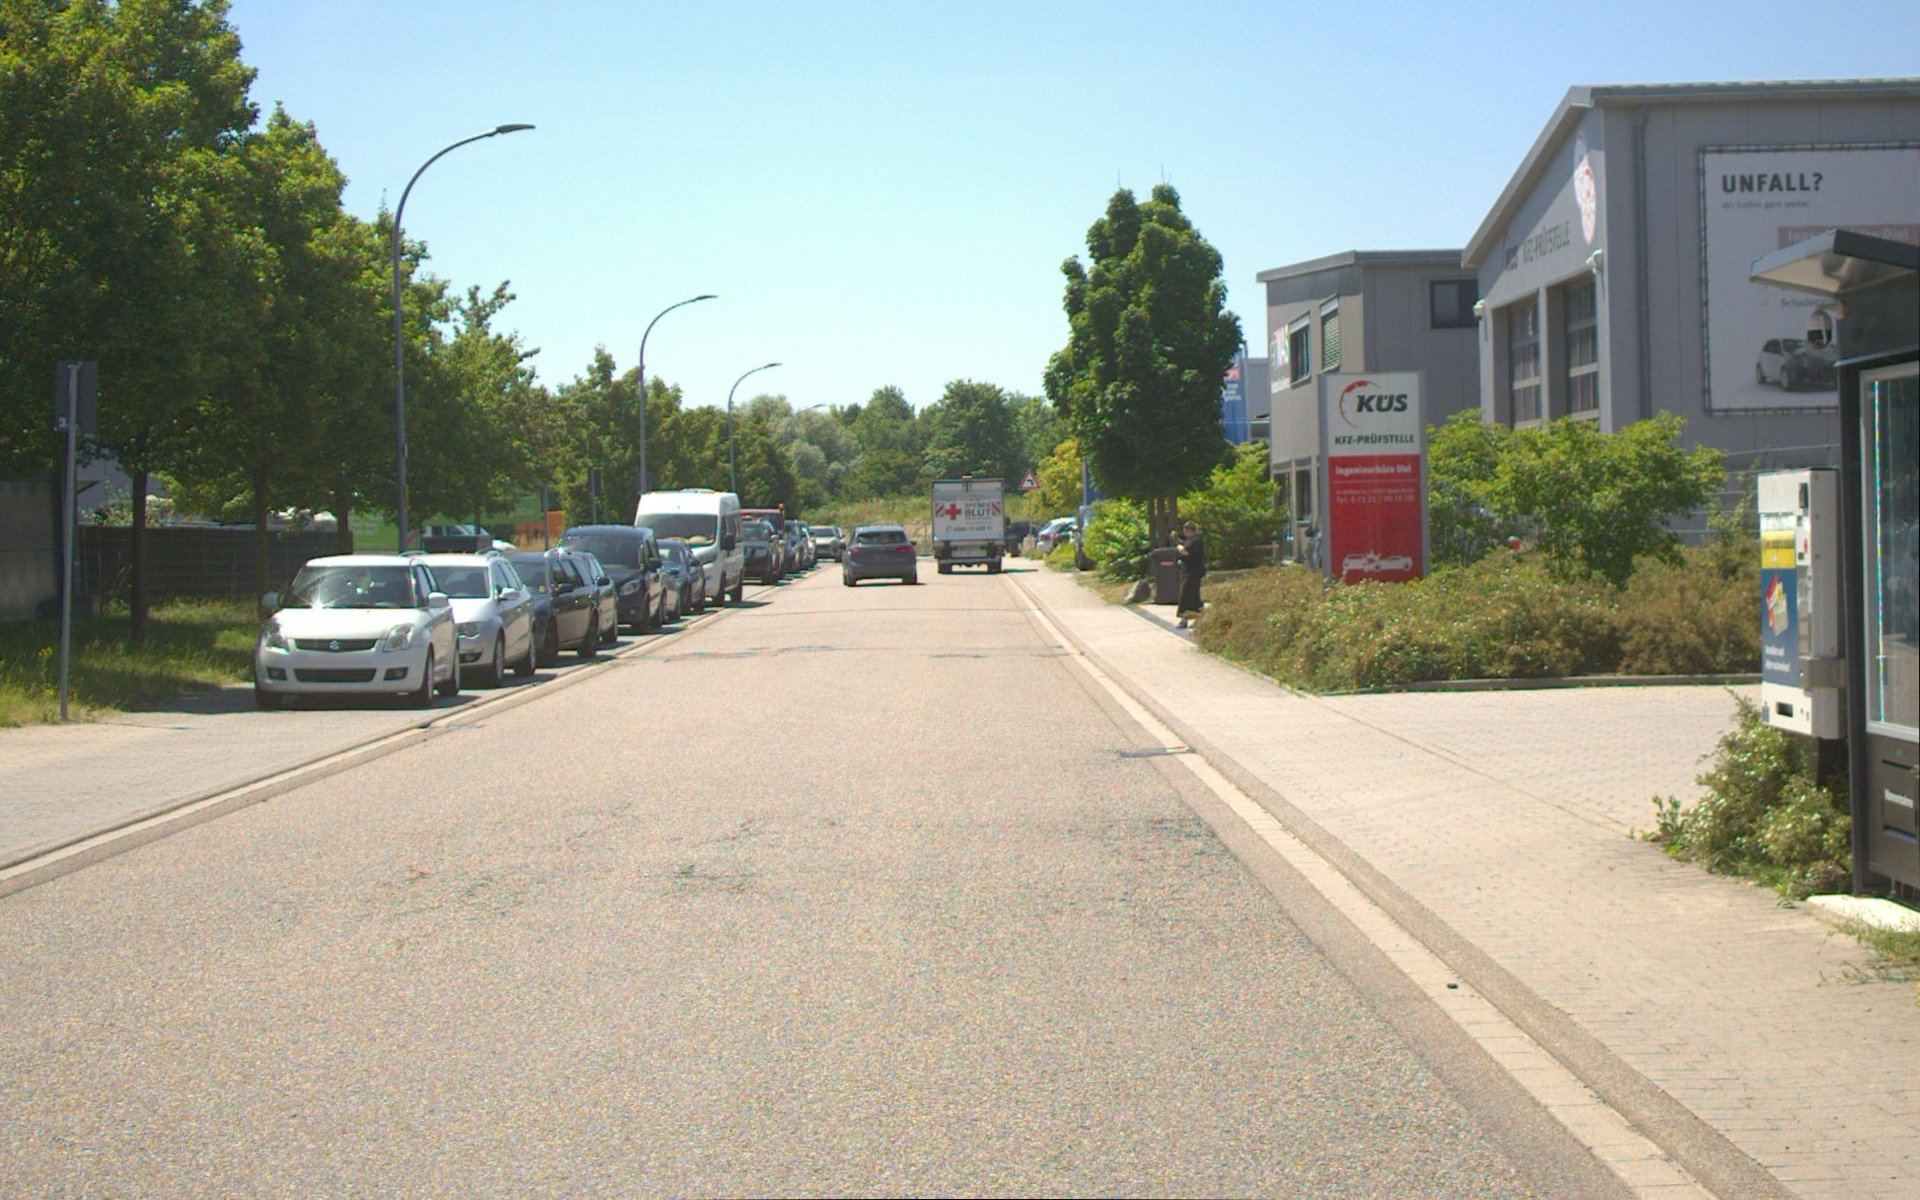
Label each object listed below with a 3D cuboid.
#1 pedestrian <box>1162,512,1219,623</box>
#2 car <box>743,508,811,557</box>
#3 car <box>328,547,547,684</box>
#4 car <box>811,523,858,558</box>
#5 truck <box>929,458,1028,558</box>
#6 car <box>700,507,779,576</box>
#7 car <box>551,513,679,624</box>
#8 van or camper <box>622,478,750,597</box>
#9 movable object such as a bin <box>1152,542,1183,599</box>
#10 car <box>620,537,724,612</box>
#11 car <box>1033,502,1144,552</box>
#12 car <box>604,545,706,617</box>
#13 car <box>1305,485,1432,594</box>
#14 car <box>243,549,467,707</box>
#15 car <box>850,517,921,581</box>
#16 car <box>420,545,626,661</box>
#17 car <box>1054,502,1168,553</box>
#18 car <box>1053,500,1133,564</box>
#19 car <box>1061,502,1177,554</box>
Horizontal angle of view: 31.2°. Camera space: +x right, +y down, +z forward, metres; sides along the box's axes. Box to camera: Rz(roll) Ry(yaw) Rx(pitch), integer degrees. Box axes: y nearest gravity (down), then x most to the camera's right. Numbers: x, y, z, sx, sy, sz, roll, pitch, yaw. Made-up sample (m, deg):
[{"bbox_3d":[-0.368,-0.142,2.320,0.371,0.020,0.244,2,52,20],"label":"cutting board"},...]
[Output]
[{"bbox_3d":[3.461,-0.485,51.661,0.499,1.607,0.714,-5,1,-17],"label":"pedestrian"},{"bbox_3d":[-5.790,-2.146,108.917,1.799,1.482,4.252,-1,2,2],"label":"car"},{"bbox_3d":[-6.008,0.135,40.006,1.799,1.471,4.555,-1,1,0],"label":"car"},{"bbox_3d":[-5.571,-2.676,153.160,1.799,1.482,4.252,-1,2,2],"label":"car"},{"bbox_3d":[0.575,-2.847,107.143,2.933,2.963,6.419,1,1,0],"label":"truck"},{"bbox_3d":[-6.127,-1.641,95.803,1.799,1.842,4.252,-1,2,2],"label":"car"},{"bbox_3d":[-5.852,-0.557,58.648,1.799,1.808,4.253,-1,1,-1],"label":"car"},{"bbox_3d":[-5.994,-1.381,75.816,2.079,2.474,6.130,1,1,2],"label":"van or camper"},{"bbox_3d":[3.867,-0.556,64.017,0.531,1.049,0.845,-1,1,2],"label":"movable object such as a bin"},{"bbox_3d":[-5.759,-0.540,69.144,1.799,1.444,4.253,-1,1,-1],"label":"car"},{"bbox_3d":[4.666,-2.635,124.942,3.875,1.744,1.752,1,1,-2],"label":"car"},{"bbox_3d":[-5.775,-0.387,65.481,1.478,1.293,3.899,0,1,2],"label":"car"},{"bbox_3d":[7.226,-1.057,61.224,1.785,1.777,4.905,-2,0,2],"label":"car"},{"bbox_3d":[-6.054,0.236,34.744,1.720,1.471,3.858,-1,1,-2],"label":"car"},{"bbox_3d":[-1.941,-1.359,90.577,1.789,1.618,3.809,1,1,0],"label":"car"},{"bbox_3d":[-5.880,0.003,46.771,1.799,1.471,4.636,0,1,5],"label":"car"},{"bbox_3d":[5.354,-2.575,122.388,3.875,1.744,1.752,1,1,-2],"label":"car"},{"bbox_3d":[3.896,-2.001,101.345,1.993,1.797,4.140,-2,1,-2],"label":"car"},{"bbox_3d":[5.551,-2.528,120.085,3.875,1.744,1.752,1,1,-2],"label":"car"}]
